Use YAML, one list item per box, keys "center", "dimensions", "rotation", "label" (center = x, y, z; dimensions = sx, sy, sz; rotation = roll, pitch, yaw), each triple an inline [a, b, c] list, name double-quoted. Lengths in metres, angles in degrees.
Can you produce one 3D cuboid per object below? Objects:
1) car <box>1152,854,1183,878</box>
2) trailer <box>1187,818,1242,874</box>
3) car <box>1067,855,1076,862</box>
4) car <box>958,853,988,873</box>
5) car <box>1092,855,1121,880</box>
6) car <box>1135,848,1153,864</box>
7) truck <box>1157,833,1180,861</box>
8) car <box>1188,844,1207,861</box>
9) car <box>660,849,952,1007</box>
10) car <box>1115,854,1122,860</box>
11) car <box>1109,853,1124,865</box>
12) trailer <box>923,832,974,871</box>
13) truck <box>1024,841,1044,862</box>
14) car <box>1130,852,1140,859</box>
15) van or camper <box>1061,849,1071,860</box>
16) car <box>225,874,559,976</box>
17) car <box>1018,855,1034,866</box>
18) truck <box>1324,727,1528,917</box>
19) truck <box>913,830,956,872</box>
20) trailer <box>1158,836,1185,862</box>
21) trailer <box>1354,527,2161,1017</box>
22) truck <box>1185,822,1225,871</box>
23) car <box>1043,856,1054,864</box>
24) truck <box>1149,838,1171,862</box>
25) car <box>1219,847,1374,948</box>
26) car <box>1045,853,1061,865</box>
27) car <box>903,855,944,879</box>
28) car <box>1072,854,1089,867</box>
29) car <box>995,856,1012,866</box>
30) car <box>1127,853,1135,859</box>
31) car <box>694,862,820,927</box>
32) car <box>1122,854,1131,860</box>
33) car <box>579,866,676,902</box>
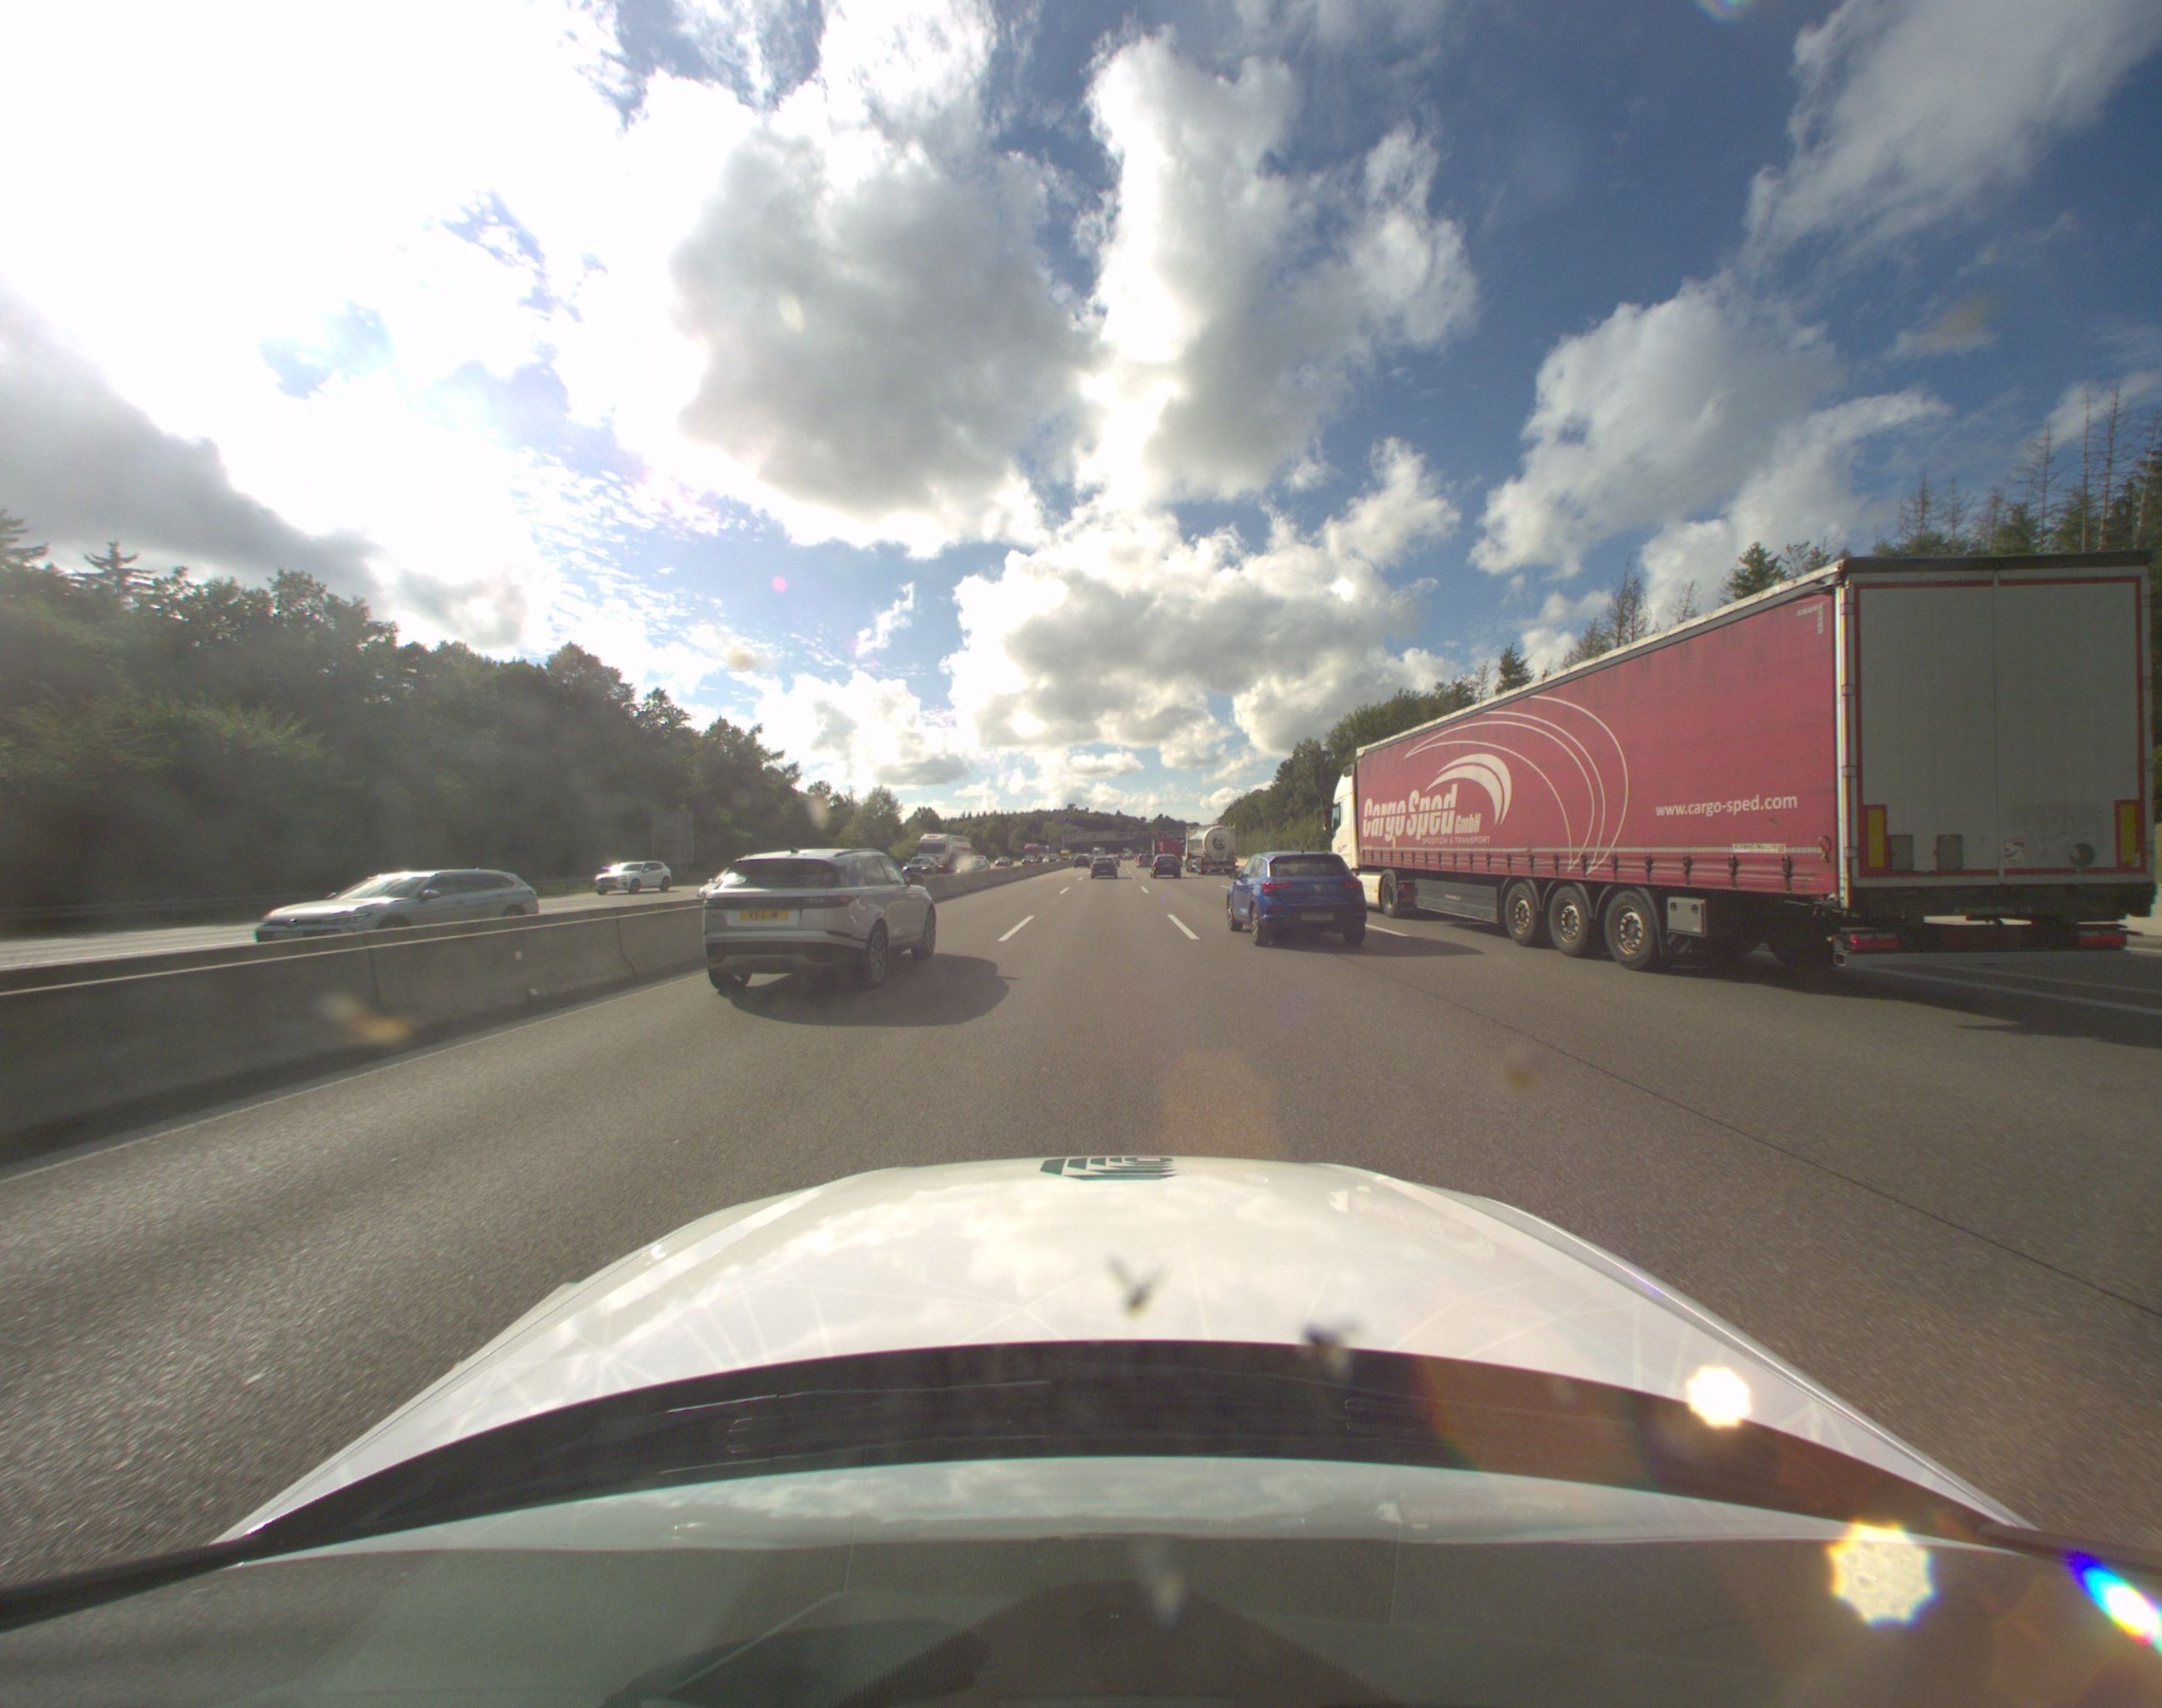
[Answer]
- center: [5.525, 0.755, 52.602]
  dimensions: [1.814, 1.457, 4.004]
  rotation: [-2, 0, 4]
  label: "car"
- center: [10.032, -0.569, 62.412]
  dimensions: [2.638, 3.767, 11.867]
  rotation: [-2, 0, 3]
  label: "trailer"
- center: [-2.376, 1.073, 209.401]
  dimensions: [1.835, 1.596, 4.921]
  rotation: [-2, 0, 5]
  label: "car"
- center: [-10.170, 0.829, 77.106]
  dimensions: [1.848, 1.670, 5.214]
  rotation: [-2, 0, 2]
  label: "car"
- center: [1.646, 0.826, 53.554]
  dimensions: [1.816, 1.546, 4.001]
  rotation: [-1, 0, 1]
  label: "car"
- center: [7.363, 0.194, 95.199]
  dimensions: [1.886, 1.857, 4.102]
  rotation: [0, 0, 2]
  label: "car"
- center: [11.715, -0.943, 109.171]
  dimensions: [2.699, 3.718, 5.821]
  rotation: [-1, 1, 3]
  label: "truck"
- center: [13.601, -0.132, 95.212]
  dimensions: [1.886, 1.957, 4.103]
  rotation: [0, 0, 2]
  label: "car"
- center: [-3.267, 0.763, 11.062]
  dimensions: [1.999, 1.616, 5.303]
  rotation: [-1, 0, 2]
  label: "car"
- center: [11.119, 0.892, 241.294]
  dimensions: [1.922, 1.457, 4.393]
  rotation: [-2, 0, 1]
  label: "car"
- center: [4.628, 0.683, 105.057]
  dimensions: [1.814, 1.457, 4.004]
  rotation: [-2, 0, 4]
  label: "car"
- center: [-14.101, -0.256, 87.811]
  dimensions: [2.776, 3.945, 12.262]
  rotation: [-1, 0, 3]
  label: "trailer"
- center: [-9.316, -0.488, 161.214]
  dimensions: [2.954, 3.858, 6.772]
  rotation: [-1, 0, 4]
  label: "truck"
- center: [11.241, 0.337, 170.139]
  dimensions: [1.935, 1.457, 4.001]
  rotation: [-2, 0, 1]
  label: "car"
- center: [-3.931, 0.205, 220.259]
  dimensions: [2.366, 2.891, 6.506]
  rotation: [-2, 0, 1]
  label: "van or camper"
- center: [-12.900, 1.227, 15.868]
  dimensions: [1.986, 1.484, 5.134]
  rotation: [-2, 0, 2]
  label: "car"
- center: [-8.478, 1.035, 126.327]
  dimensions: [1.986, 1.664, 4.689]
  rotation: [-2, 0, 2]
  label: "car"
- center: [8.285, -0.685, 20.430]
  dimensions: [2.763, 4.045, 5.775]
  rotation: [-1, 0, 2]
  label: "truck"
- center: [-14.462, -0.308, 81.032]
  dimensions: [2.776, 3.945, 6.450]
  rotation: [-1, 0, 3]
  label: "truck"
- center: [11.498, -0.681, 104.316]
  dimensions: [2.699, 3.231, 9.739]
  rotation: [-1, 1, 3]
  label: "trailer"
- center: [8.070, -0.692, 13.646]
  dimensions: [2.763, 4.045, 13.719]
  rotation: [-1, 0, 2]
  label: "trailer"
- center: [10.307, -0.598, 68.149]
  dimensions: [2.638, 3.823, 6.086]
  rotation: [-2, 0, 2]
  label: "truck"
- center: [-6.136, 1.117, 155.234]
  dimensions: [1.596, 1.403, 4.004]
  rotation: [1, 0, 4]
  label: "car"
- center: [13.664, -0.671, 142.131]
  dimensions: [3.106, 3.935, 10.416]
  rotation: [-2, 0, 2]
  label: "truck"
- center: [3.681, 0.668, 14.735]
  dimensions: [1.766, 1.530, 4.460]
  rotation: [-1, 0, 2]
  label: "car"
- center: [-4.342, 0.743, 127.146]
  dimensions: [2.147, 1.700, 5.352]
  rotation: [-2, 0, 2]
  label: "car"
- center: [-11.469, 0.910, 59.535]
  dimensions: [1.853, 1.619, 4.750]
  rotation: [-2, 0, 2]
  label: "car"
- center: [-0.084, 0.808, 99.379]
  dimensions: [1.935, 1.457, 4.000]
  rotation: [-2, 0, 1]
  label: "car"
- center: [-11.776, 1.076, 124.555]
  dimensions: [1.819, 1.414, 4.679]
  rotation: [-1, 0, 3]
  label: "car"
- center: [13.858, 0.489, 227.150]
  dimensions: [2.069, 1.457, 4.001]
  rotation: [-2, 0, 1]
  label: "car"
- center: [-9.487, 1.127, 24.253]
  dimensions: [1.906, 1.640, 4.244]
  rotation: [-2, 0, 2]
  label: "car"
- center: [11.371, 0.696, 204.281]
  dimensions: [2.069, 1.457, 4.001]
  rotation: [-2, 0, 1]
  label: "car"
- center: [-23.698, 1.534, 42.796]
  dimensions: [2.163, 1.637, 4.878]
  rotation: [-2, 0, 2]
  label: "car"
